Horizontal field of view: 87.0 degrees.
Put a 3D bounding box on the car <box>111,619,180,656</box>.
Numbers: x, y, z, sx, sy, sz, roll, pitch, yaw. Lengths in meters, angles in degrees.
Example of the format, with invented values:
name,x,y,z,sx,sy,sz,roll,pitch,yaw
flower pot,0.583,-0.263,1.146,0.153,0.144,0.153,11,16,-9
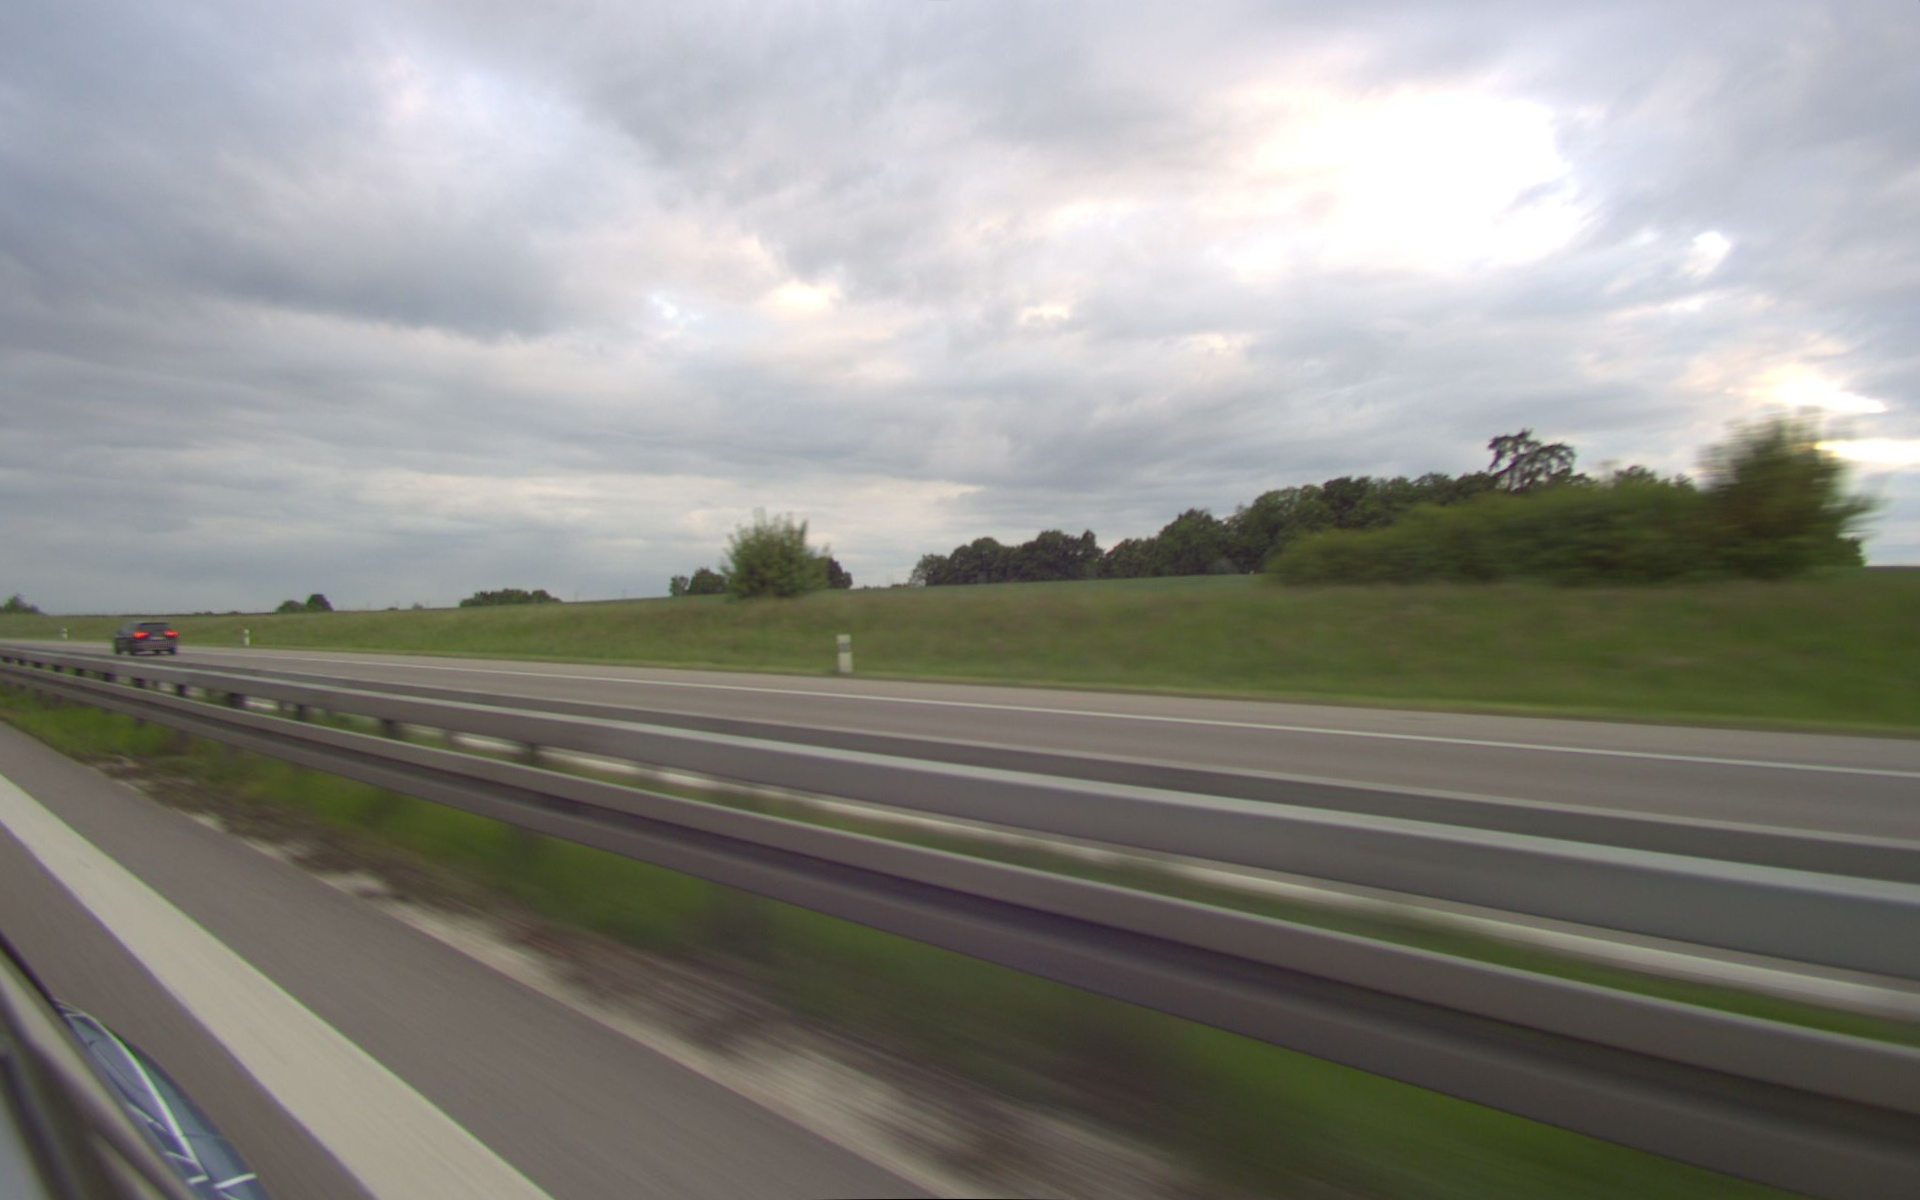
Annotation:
name,x,y,z,sx,sy,sz,roll,pitch,yaw
car,-39.552,1.800,49.101,4.458,1.676,1.681,-1,0,39
